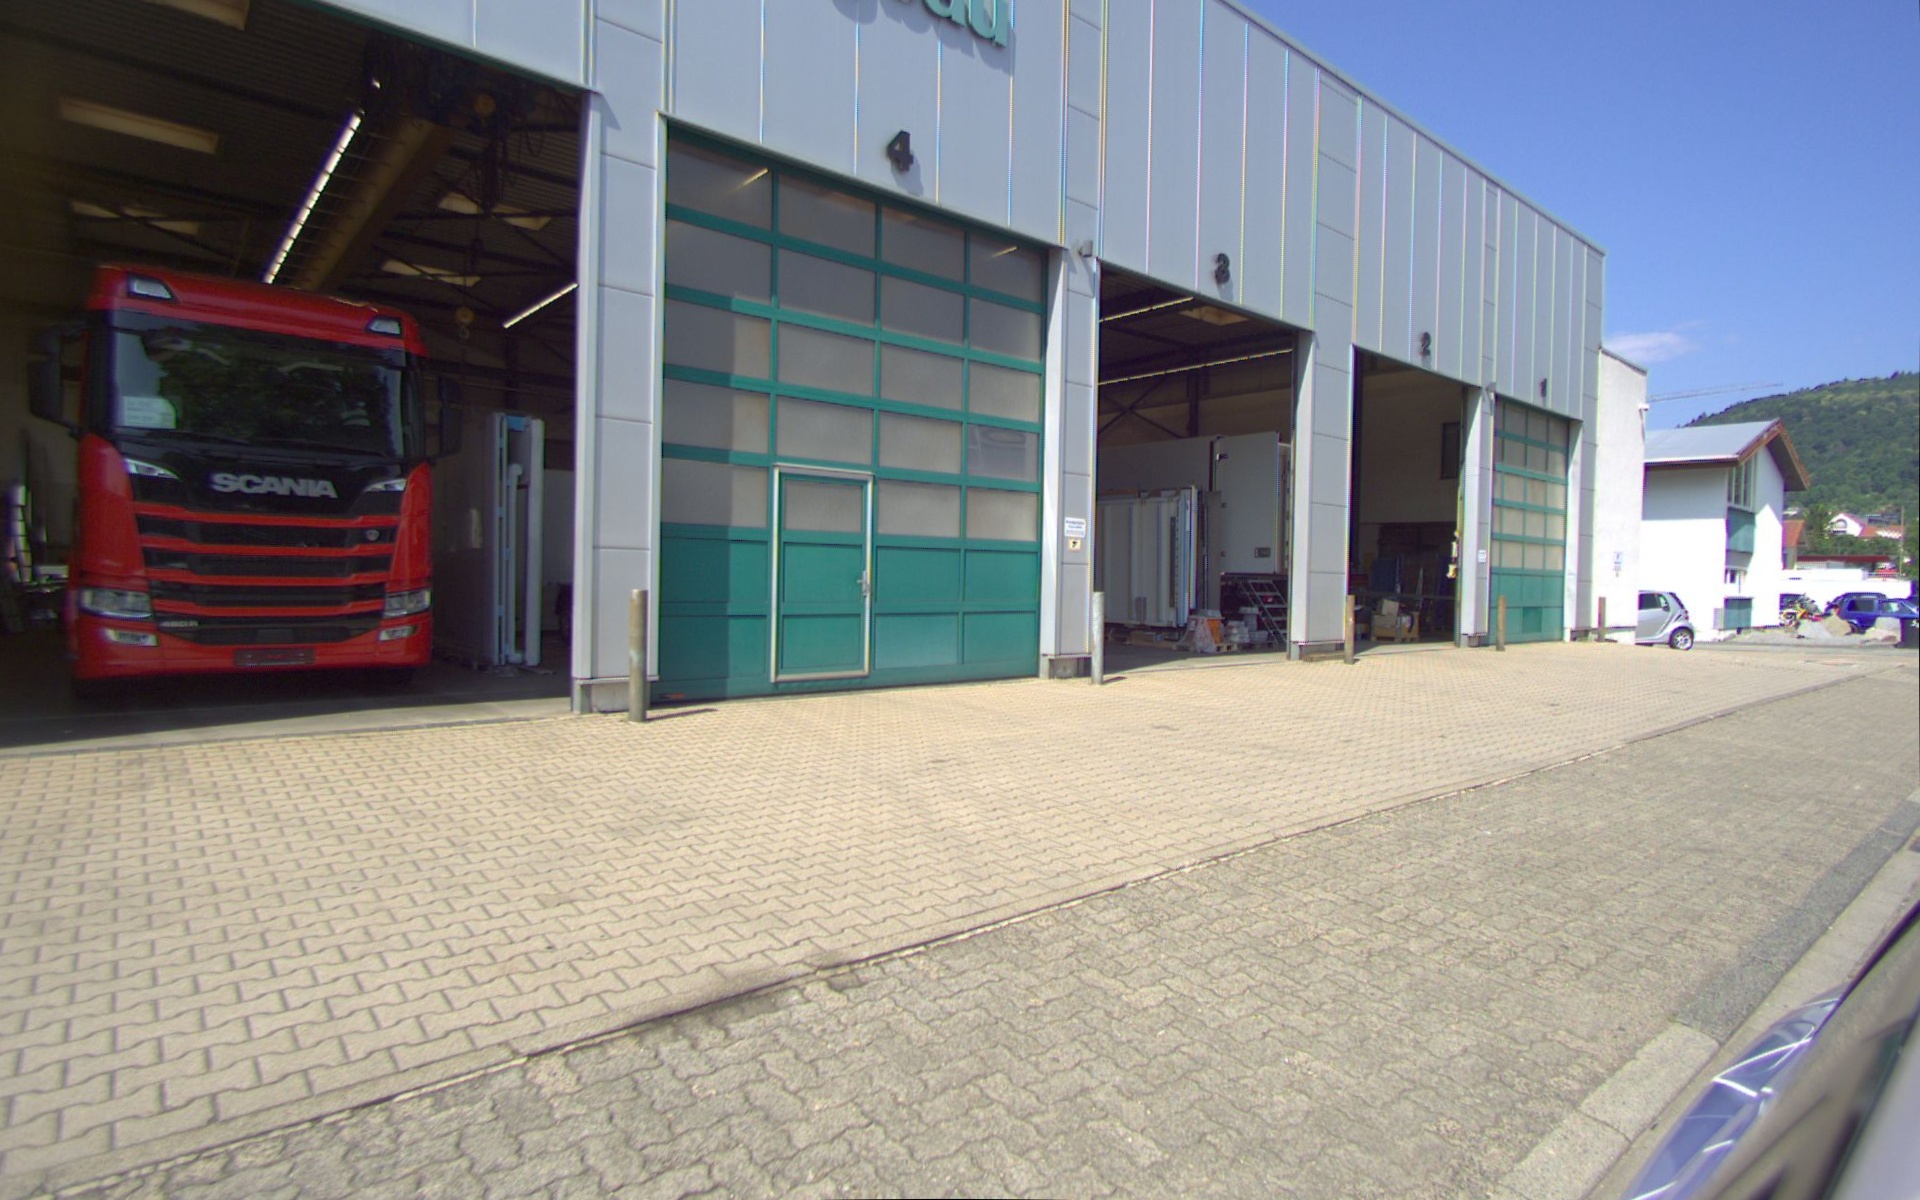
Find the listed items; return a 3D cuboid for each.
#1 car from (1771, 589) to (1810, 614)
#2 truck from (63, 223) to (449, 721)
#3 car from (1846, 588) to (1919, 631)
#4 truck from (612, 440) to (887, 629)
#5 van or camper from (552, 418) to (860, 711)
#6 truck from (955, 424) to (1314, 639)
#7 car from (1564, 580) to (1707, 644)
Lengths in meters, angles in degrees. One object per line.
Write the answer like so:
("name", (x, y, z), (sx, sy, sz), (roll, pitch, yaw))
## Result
("car", (49.293, 0.093, 60.058), (3.134, 1.396, 1.449), (-1, 0, -44))
("truck", (-7.769, -1.056, 10.906), (2.435, 3.446, 7.971), (0, 3, -39))
("car", (31.485, 0.301, 33.549), (1.427, 1.357, 2.974), (-1, 0, -39))
("truck", (-4.979, -1.383, 22.590), (2.720, 3.501, 7.570), (0, 2, -40))
("van or camper", (-3.637, -0.468, 13.754), (1.966, 3.245, 5.050), (-1, 2, -42))
("truck", (3.384, -1.394, 21.946), (2.577, 3.828, 7.855), (0, 2, -39))
("car", (17.566, 0.304, 26.381), (2.772, 1.553, 1.312), (1, 0, 3))
